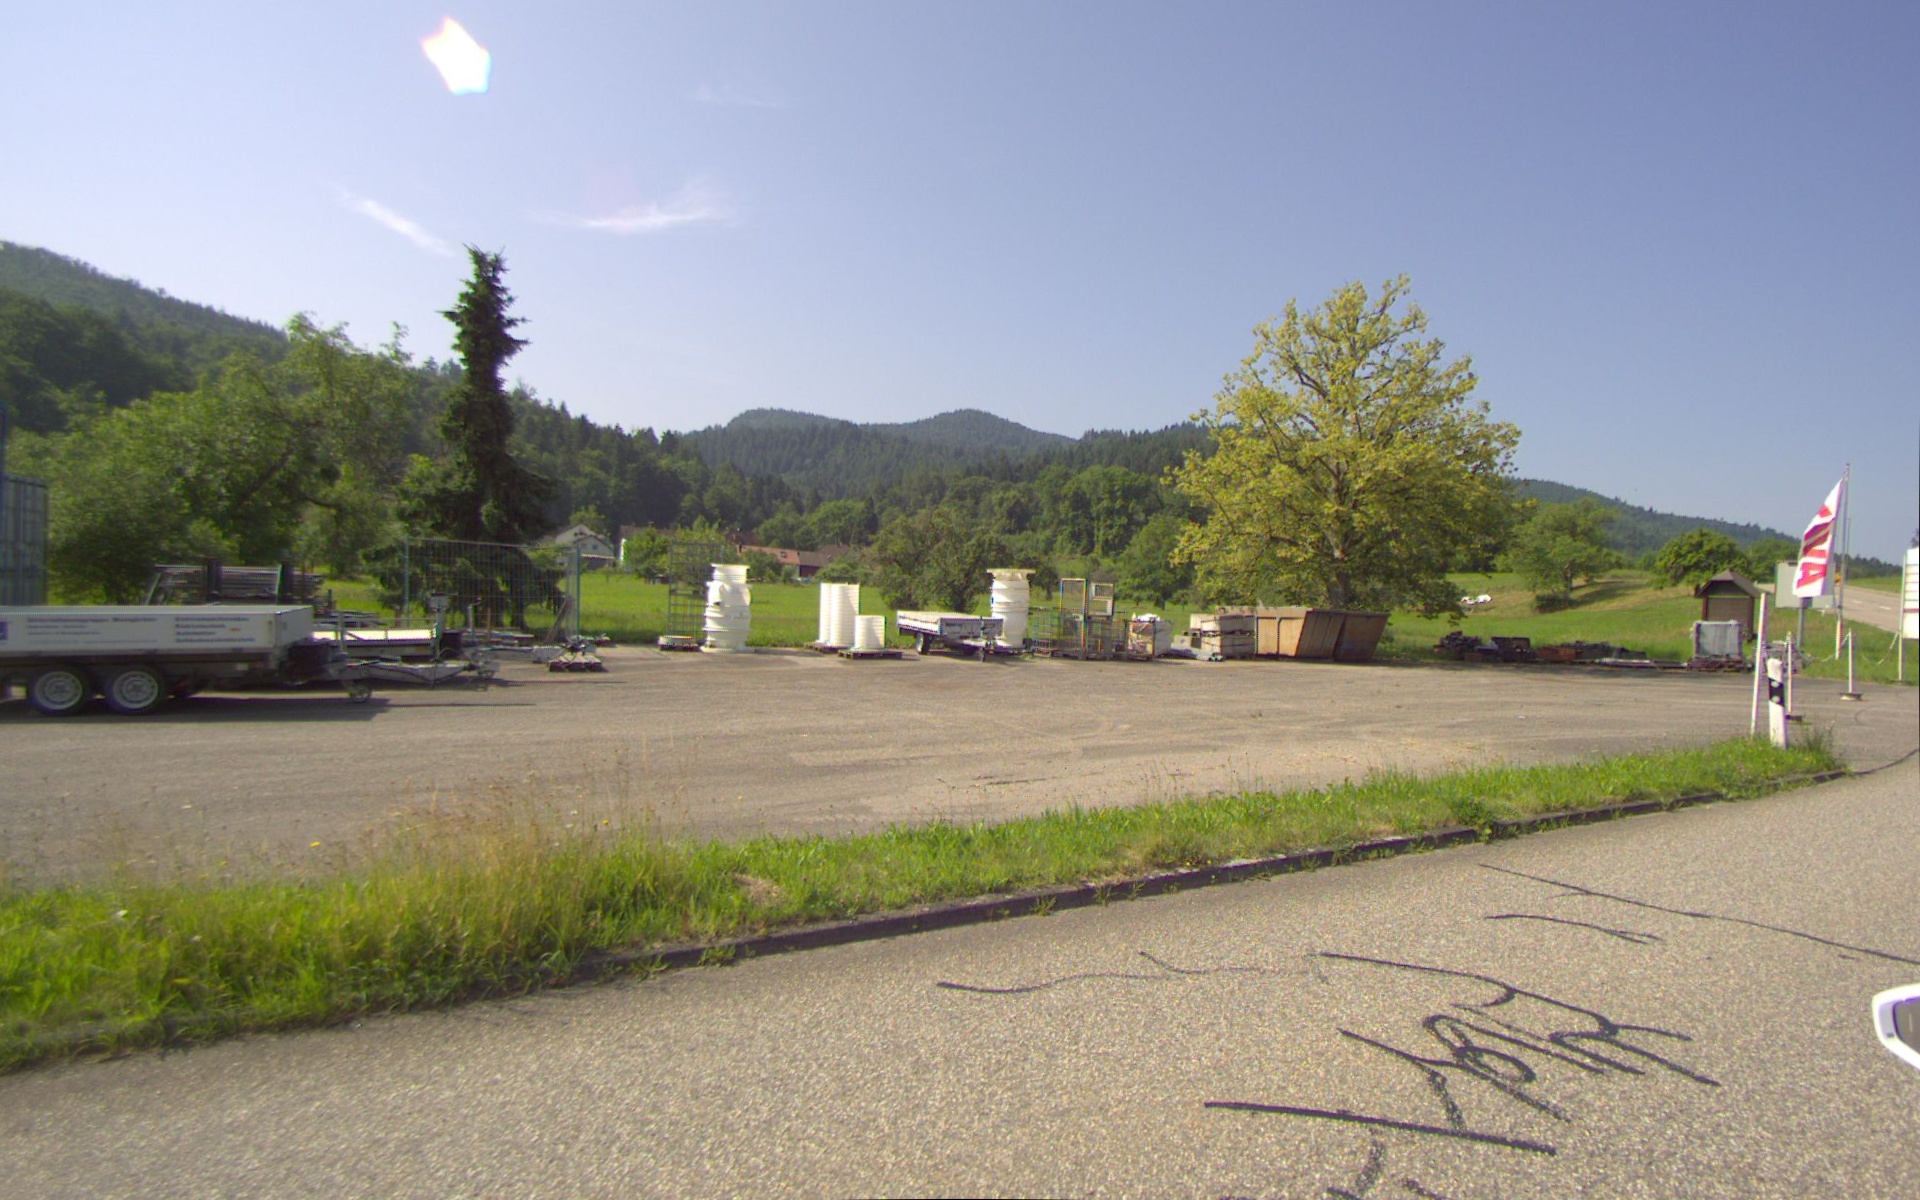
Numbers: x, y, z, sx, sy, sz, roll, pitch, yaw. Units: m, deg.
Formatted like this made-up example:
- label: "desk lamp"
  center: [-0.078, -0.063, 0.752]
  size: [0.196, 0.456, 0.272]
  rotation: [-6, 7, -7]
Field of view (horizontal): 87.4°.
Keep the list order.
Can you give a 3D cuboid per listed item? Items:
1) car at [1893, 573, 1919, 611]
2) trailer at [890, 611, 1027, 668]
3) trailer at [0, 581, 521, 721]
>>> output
- label: "car"
  center: [60.134, -0.501, 62.412]
  size: [2.192, 2.317, 4.972]
  rotation: [-2, -1, 32]
- label: "trailer"
  center: [-0.132, 0.869, 23.358]
  size: [1.841, 0.952, 3.924]
  rotation: [3, 1, -22]
- label: "trailer"
  center: [-7.884, 0.543, 11.150]
  size: [5.471, 1.243, 1.987]
  rotation: [2, 2, -25]
